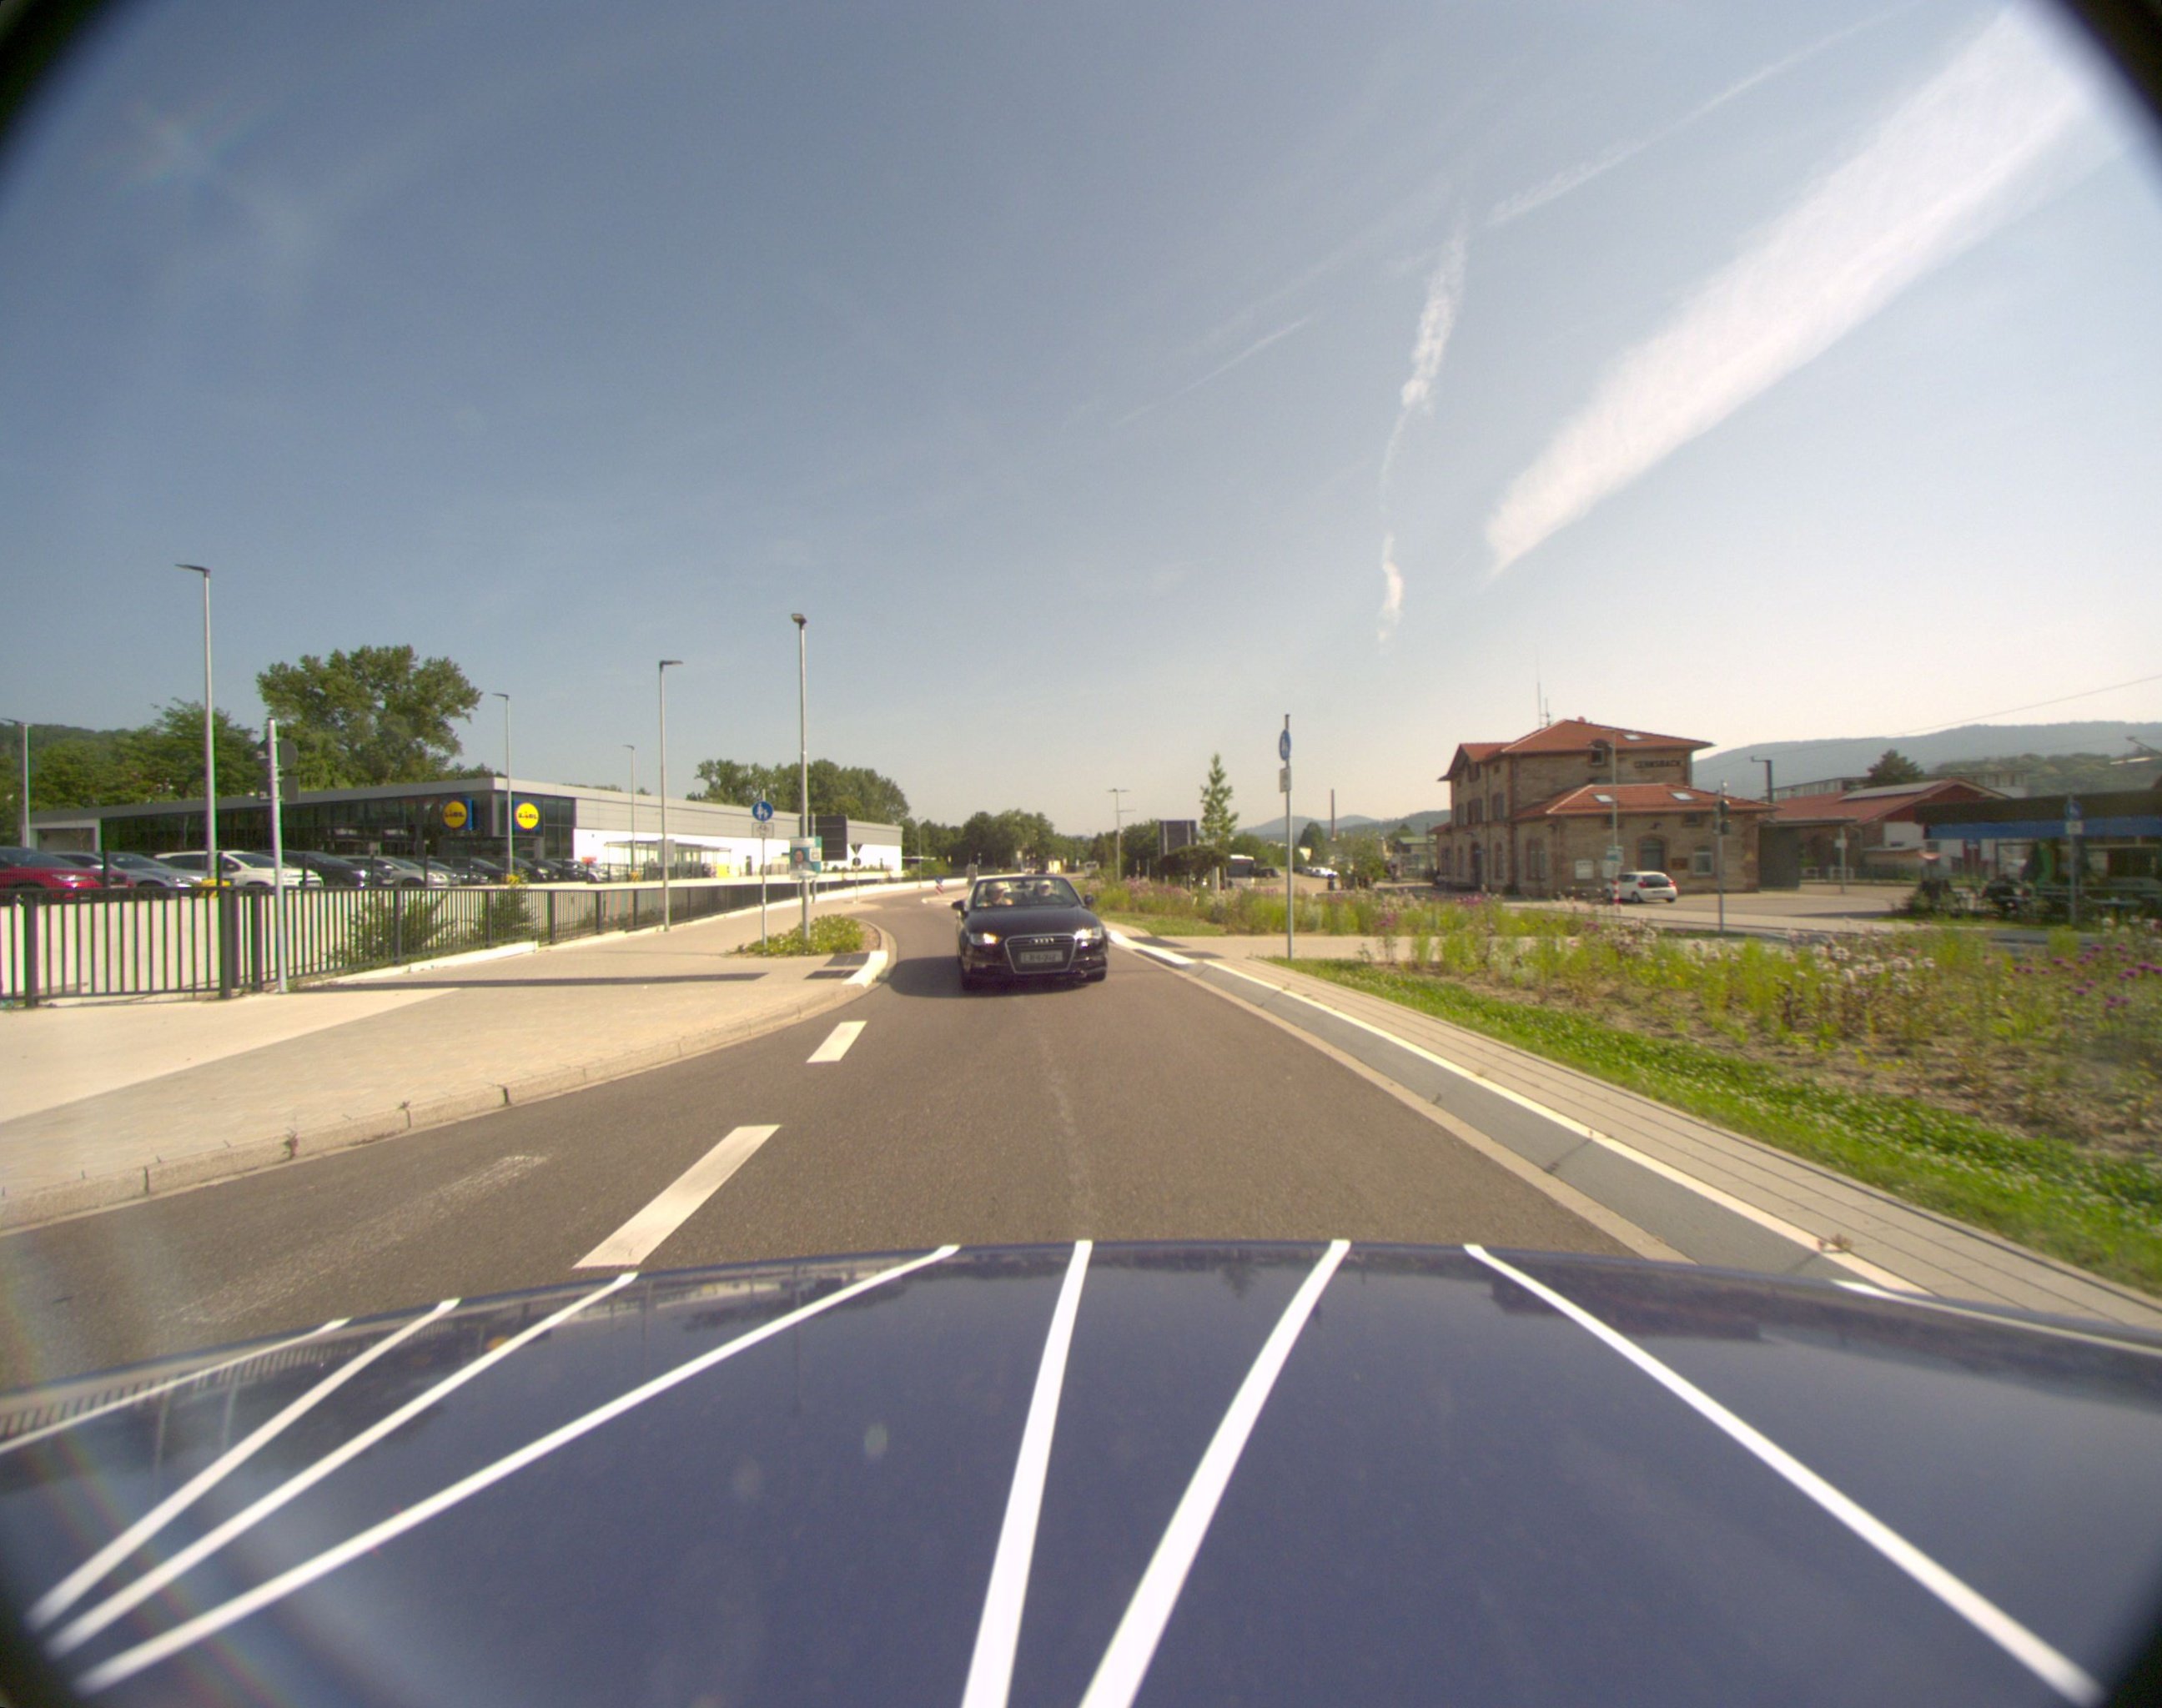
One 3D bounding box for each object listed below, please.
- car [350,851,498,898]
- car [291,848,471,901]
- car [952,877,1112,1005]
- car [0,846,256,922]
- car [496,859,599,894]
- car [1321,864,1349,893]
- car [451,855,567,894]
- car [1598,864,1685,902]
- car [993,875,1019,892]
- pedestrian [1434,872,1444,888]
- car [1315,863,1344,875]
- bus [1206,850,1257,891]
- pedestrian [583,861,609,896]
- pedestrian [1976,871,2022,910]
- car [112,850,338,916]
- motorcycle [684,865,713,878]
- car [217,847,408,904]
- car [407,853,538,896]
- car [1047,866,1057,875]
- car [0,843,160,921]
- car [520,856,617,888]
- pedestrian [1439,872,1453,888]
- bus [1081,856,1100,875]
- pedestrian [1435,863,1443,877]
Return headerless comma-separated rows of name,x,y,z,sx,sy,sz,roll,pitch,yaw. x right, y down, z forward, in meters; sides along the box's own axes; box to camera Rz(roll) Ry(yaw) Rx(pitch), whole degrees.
car,-25.744,0.795,29.918,4.001,1.564,1.702,-3,0,-14
car,-24.964,0.716,27.276,4.417,1.564,1.702,-3,0,-14
car,-0.881,1.046,10.527,1.723,1.314,4.222,-2,-2,-10
car,-23.875,0.728,19.021,4.023,1.564,1.778,-3,0,-11
car,-27.993,1.152,40.002,4.001,1.564,1.702,-3,0,-14
car,20.255,1.912,60.474,1.974,1.953,5.164,-4,-1,19
car,-27.357,0.972,36.475,4.001,1.564,1.702,-3,0,-14
car,26.971,1.355,36.692,1.678,1.559,3.652,-3,1,6
car,-6.923,2.723,69.813,1.783,1.390,3.996,-3,-1,-14
pedestrian,27.037,1.948,57.381,0.511,1.155,0.507,-3,0,11
car,40.225,2.474,123.140,3.999,1.717,1.837,-3,0,-8
bus,13.567,1.420,69.442,2.586,3.309,10.590,-3,-1,1
pedestrian,-28.537,1.409,44.694,0.832,2.002,0.863,-3,0,2
pedestrian,28.315,1.111,23.433,0.559,1.157,0.680,-3,0,-12
car,-24.468,0.799,21.899,4.001,1.564,1.702,-3,0,-14
motorcycle,-28.699,1.319,57.064,1.881,0.858,0.625,-3,0,-31
car,-24.839,0.678,24.727,4.001,1.564,1.702,-3,0,-14
car,-26.250,0.862,32.910,4.001,1.564,1.702,-3,0,-14
car,-6.670,3.795,175.637,1.886,1.783,3.998,-3,-1,-8
car,-23.563,0.681,16.656,4.023,1.564,1.778,-3,0,-11
car,-29.029,1.013,43.140,4.133,1.564,1.702,-3,0,-14
pedestrian,26.504,1.884,55.169,0.789,1.155,0.507,-3,0,11
bus,1.817,2.060,138.276,2.867,3.173,9.121,-2,-1,4
pedestrian,29.122,1.313,61.793,0.371,1.155,0.507,-3,0,11
